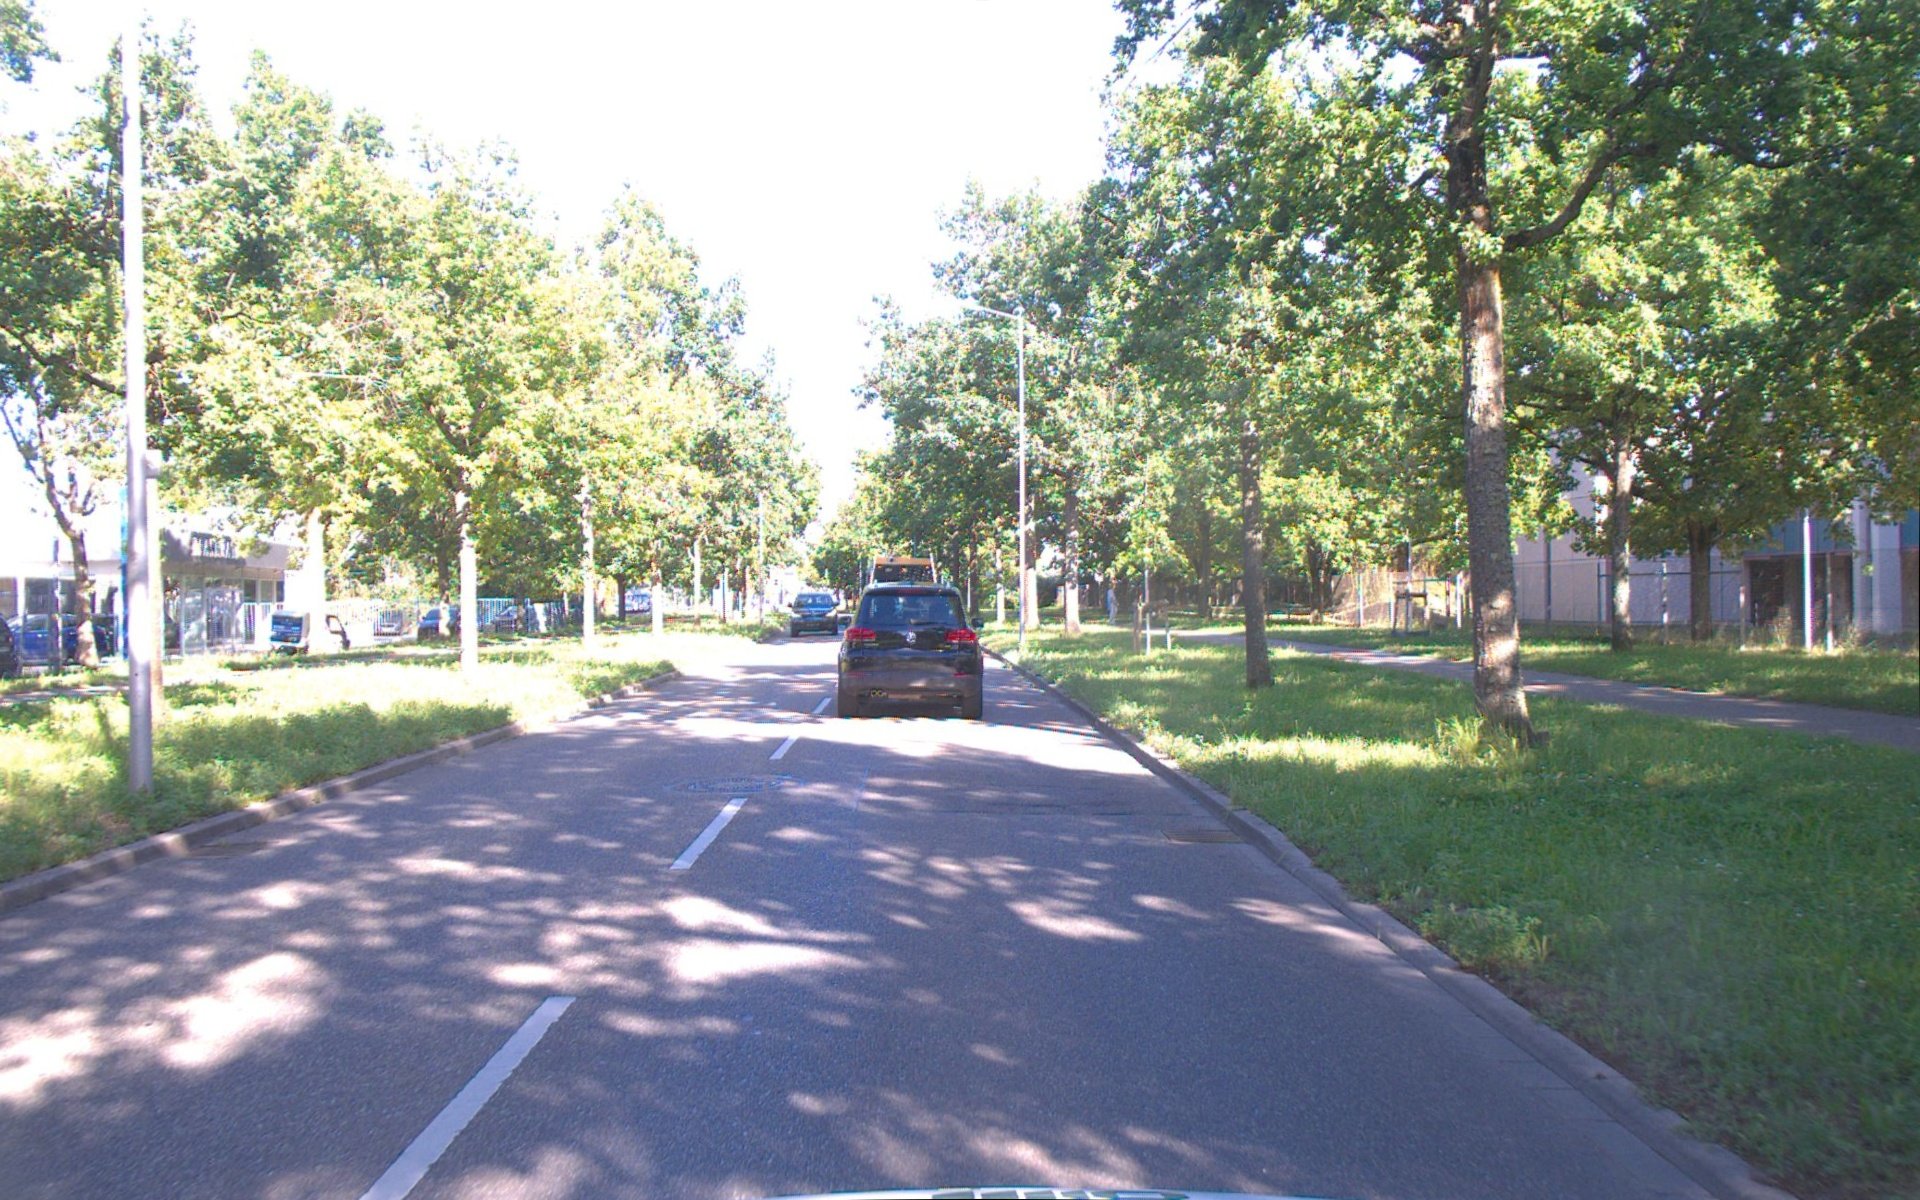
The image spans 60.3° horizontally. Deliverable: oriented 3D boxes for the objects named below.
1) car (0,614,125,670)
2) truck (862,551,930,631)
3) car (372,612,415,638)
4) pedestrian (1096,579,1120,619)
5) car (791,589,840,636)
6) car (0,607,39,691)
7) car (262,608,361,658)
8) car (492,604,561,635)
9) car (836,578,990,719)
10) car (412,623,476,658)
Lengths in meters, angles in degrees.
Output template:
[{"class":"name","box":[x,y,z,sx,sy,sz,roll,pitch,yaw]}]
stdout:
[{"class":"car","box":[-30.991,1.389,55.272,1.959,1.689,5.242,1,1,35]},{"class":"truck","box":[-2.911,-0.370,72.766,2.463,3.300,8.142,-1,0,-6]},{"class":"car","box":[-37.577,1.632,109.768,1.957,1.594,4.873,1,0,-10]},{"class":"pedestrian","box":[6.256,-0.041,69.755,0.706,1.659,0.606,-2,1,41]},{"class":"car","box":[-5.617,0.484,64.521,1.732,1.701,4.196,-2,0,-3]},{"class":"car","box":[-22.202,1.011,35.332,3.905,1.772,2.000,1,0,0]},{"class":"car","box":[-20.222,1.031,51.617,2.512,1.495,1.427,-1,0,13]},{"class":"car","box":[-26.161,1.168,99.950,3.916,1.833,1.994,1,0,-12]},{"class":"car","box":[-0.708,0.584,21.700,1.747,1.662,3.995,1,0,-5]},{"class":"car","box":[-25.398,1.972,81.539,1.954,1.625,5.010,1,0,-5]}]
